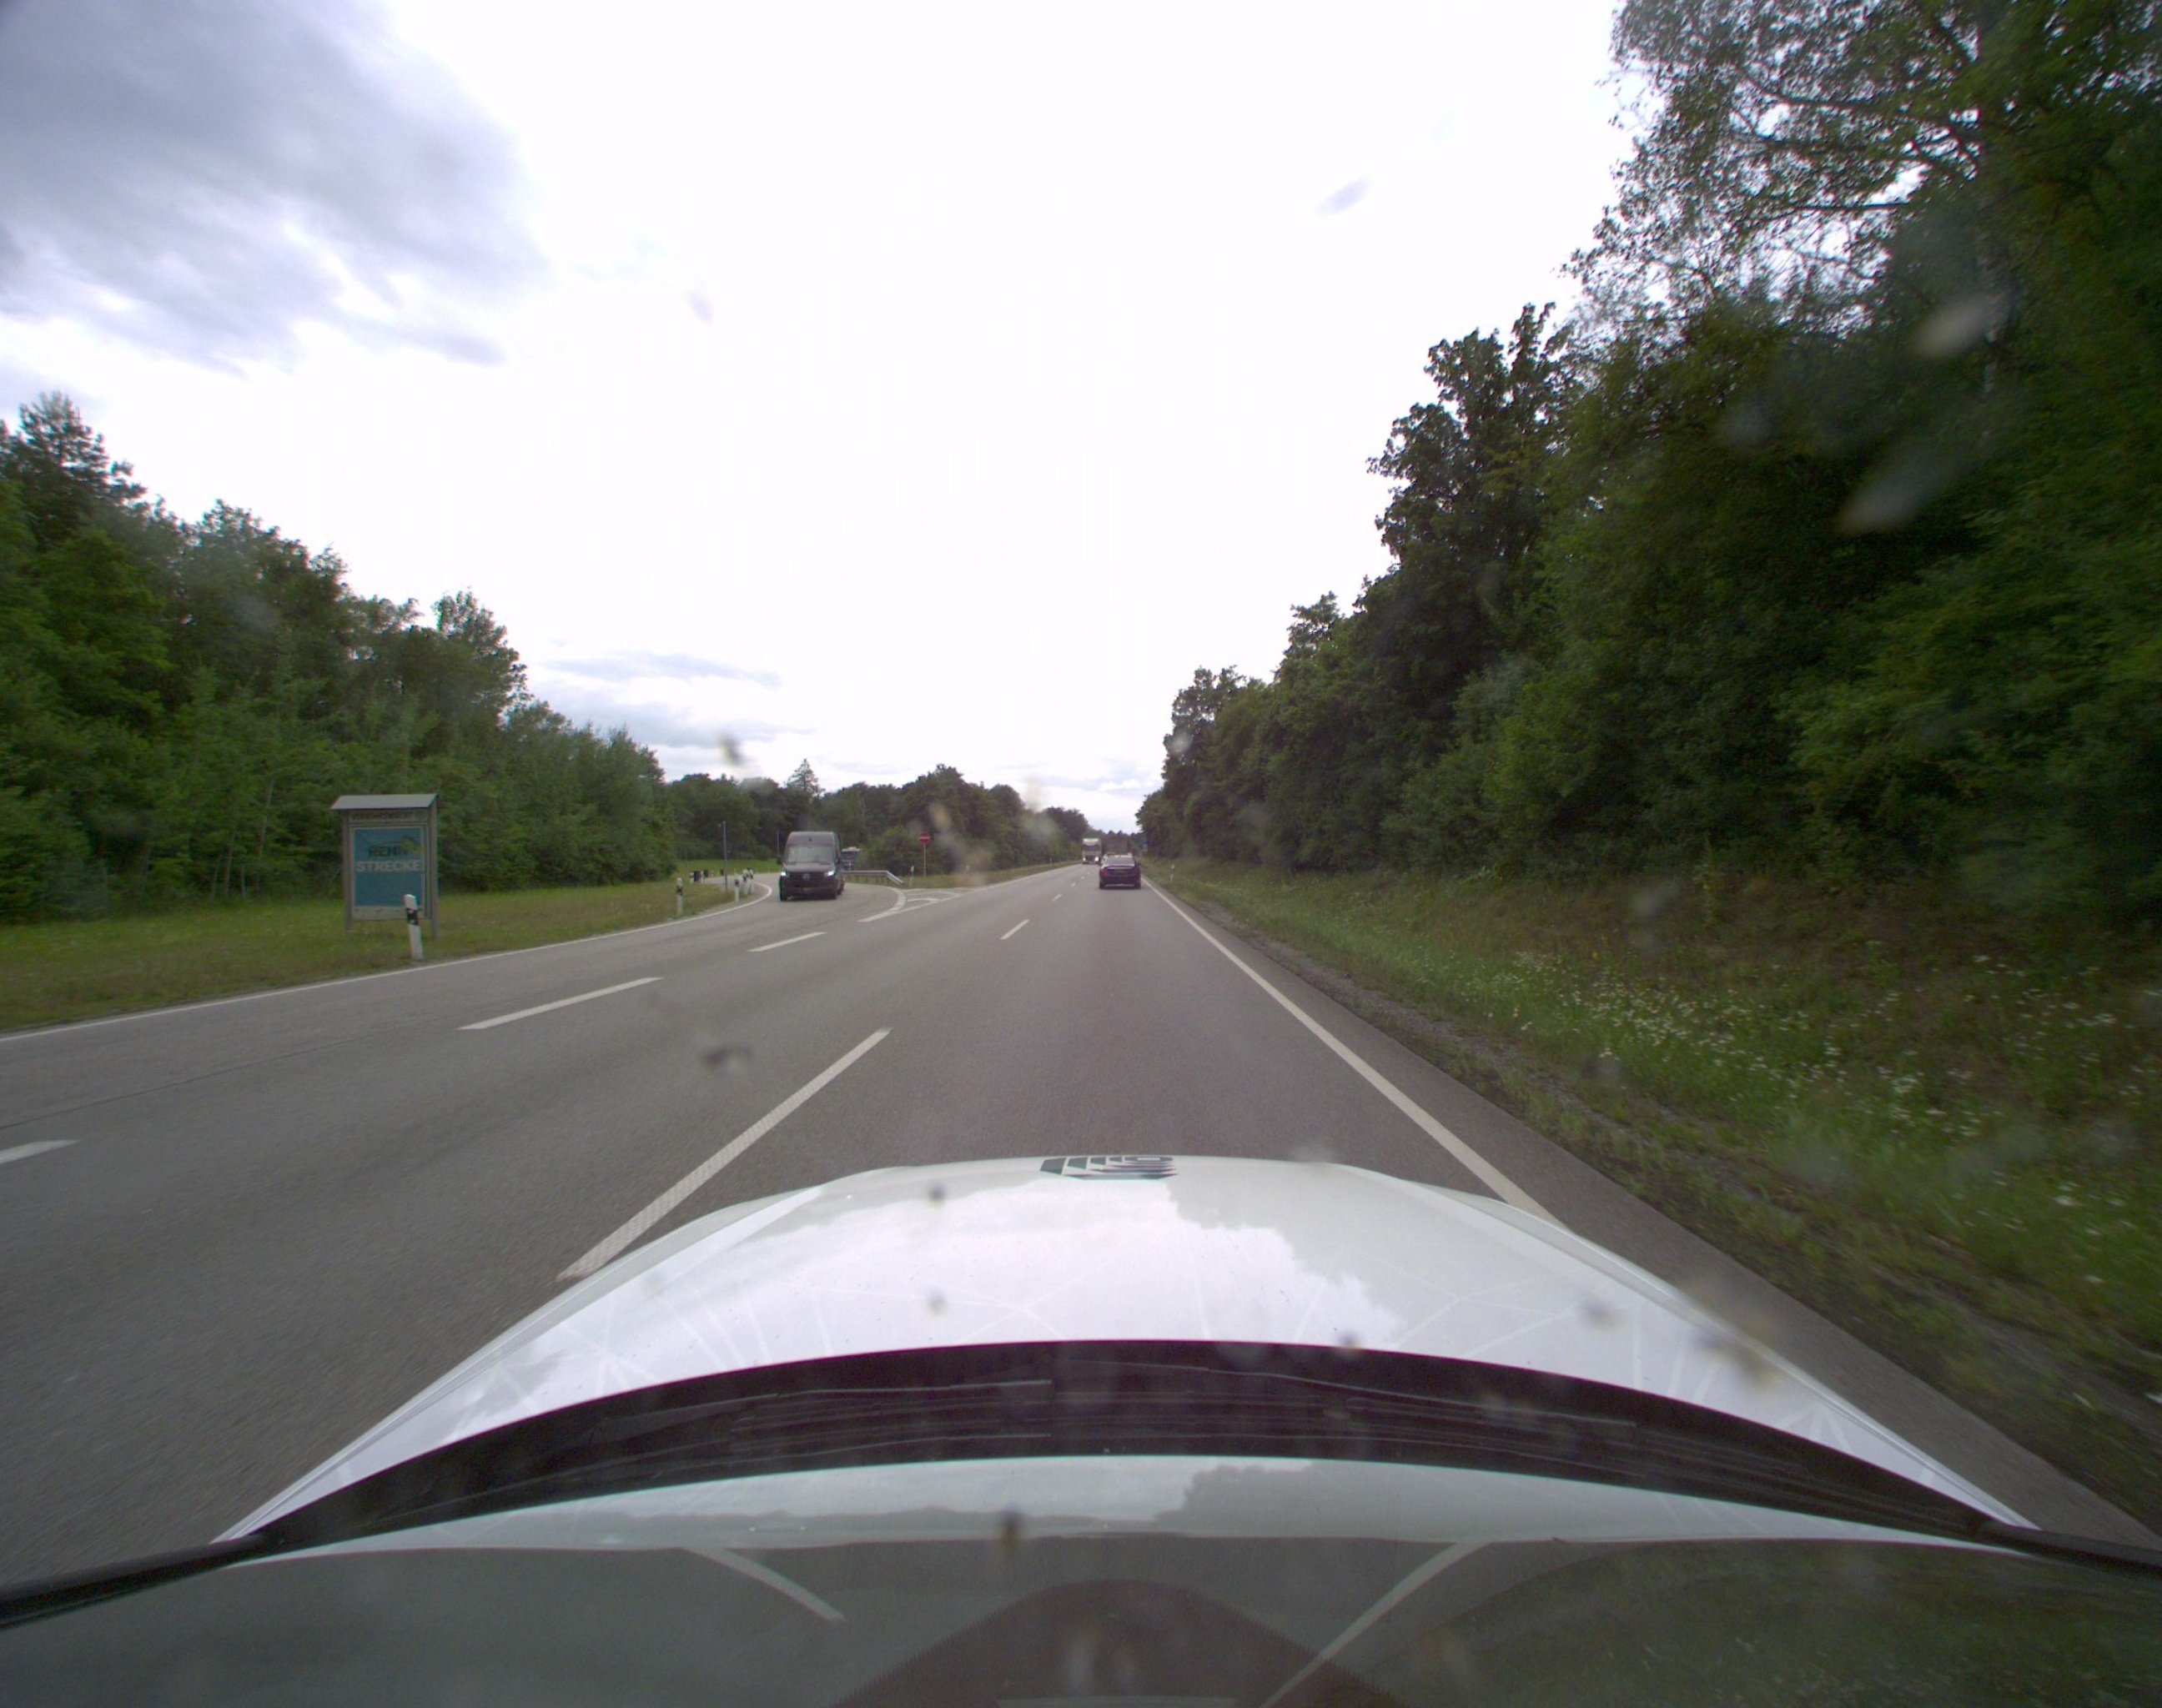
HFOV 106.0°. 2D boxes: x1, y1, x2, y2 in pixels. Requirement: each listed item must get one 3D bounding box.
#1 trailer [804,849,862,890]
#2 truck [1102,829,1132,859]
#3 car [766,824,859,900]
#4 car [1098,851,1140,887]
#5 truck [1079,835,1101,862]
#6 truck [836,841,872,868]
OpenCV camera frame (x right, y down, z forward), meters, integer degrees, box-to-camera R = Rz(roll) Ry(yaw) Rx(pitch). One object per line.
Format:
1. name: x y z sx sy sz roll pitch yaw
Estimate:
1. trailer: -11.595 0.691 38.420 2.055 1.791 5.668 0 0 -11
2. truck: 4.781 -1.202 105.015 3.265 3.611 11.416 0 0 5
3. car: -10.371 0.281 32.086 2.256 2.529 7.140 -3 0 -10
4. car: 1.664 0.635 36.949 1.785 1.552 4.001 0 0 1
5. truck: 1.501 -0.840 131.443 3.177 4.062 9.581 0 0 2
6. truck: -26.858 0.066 96.698 1.986 3.012 7.230 0 0 2
